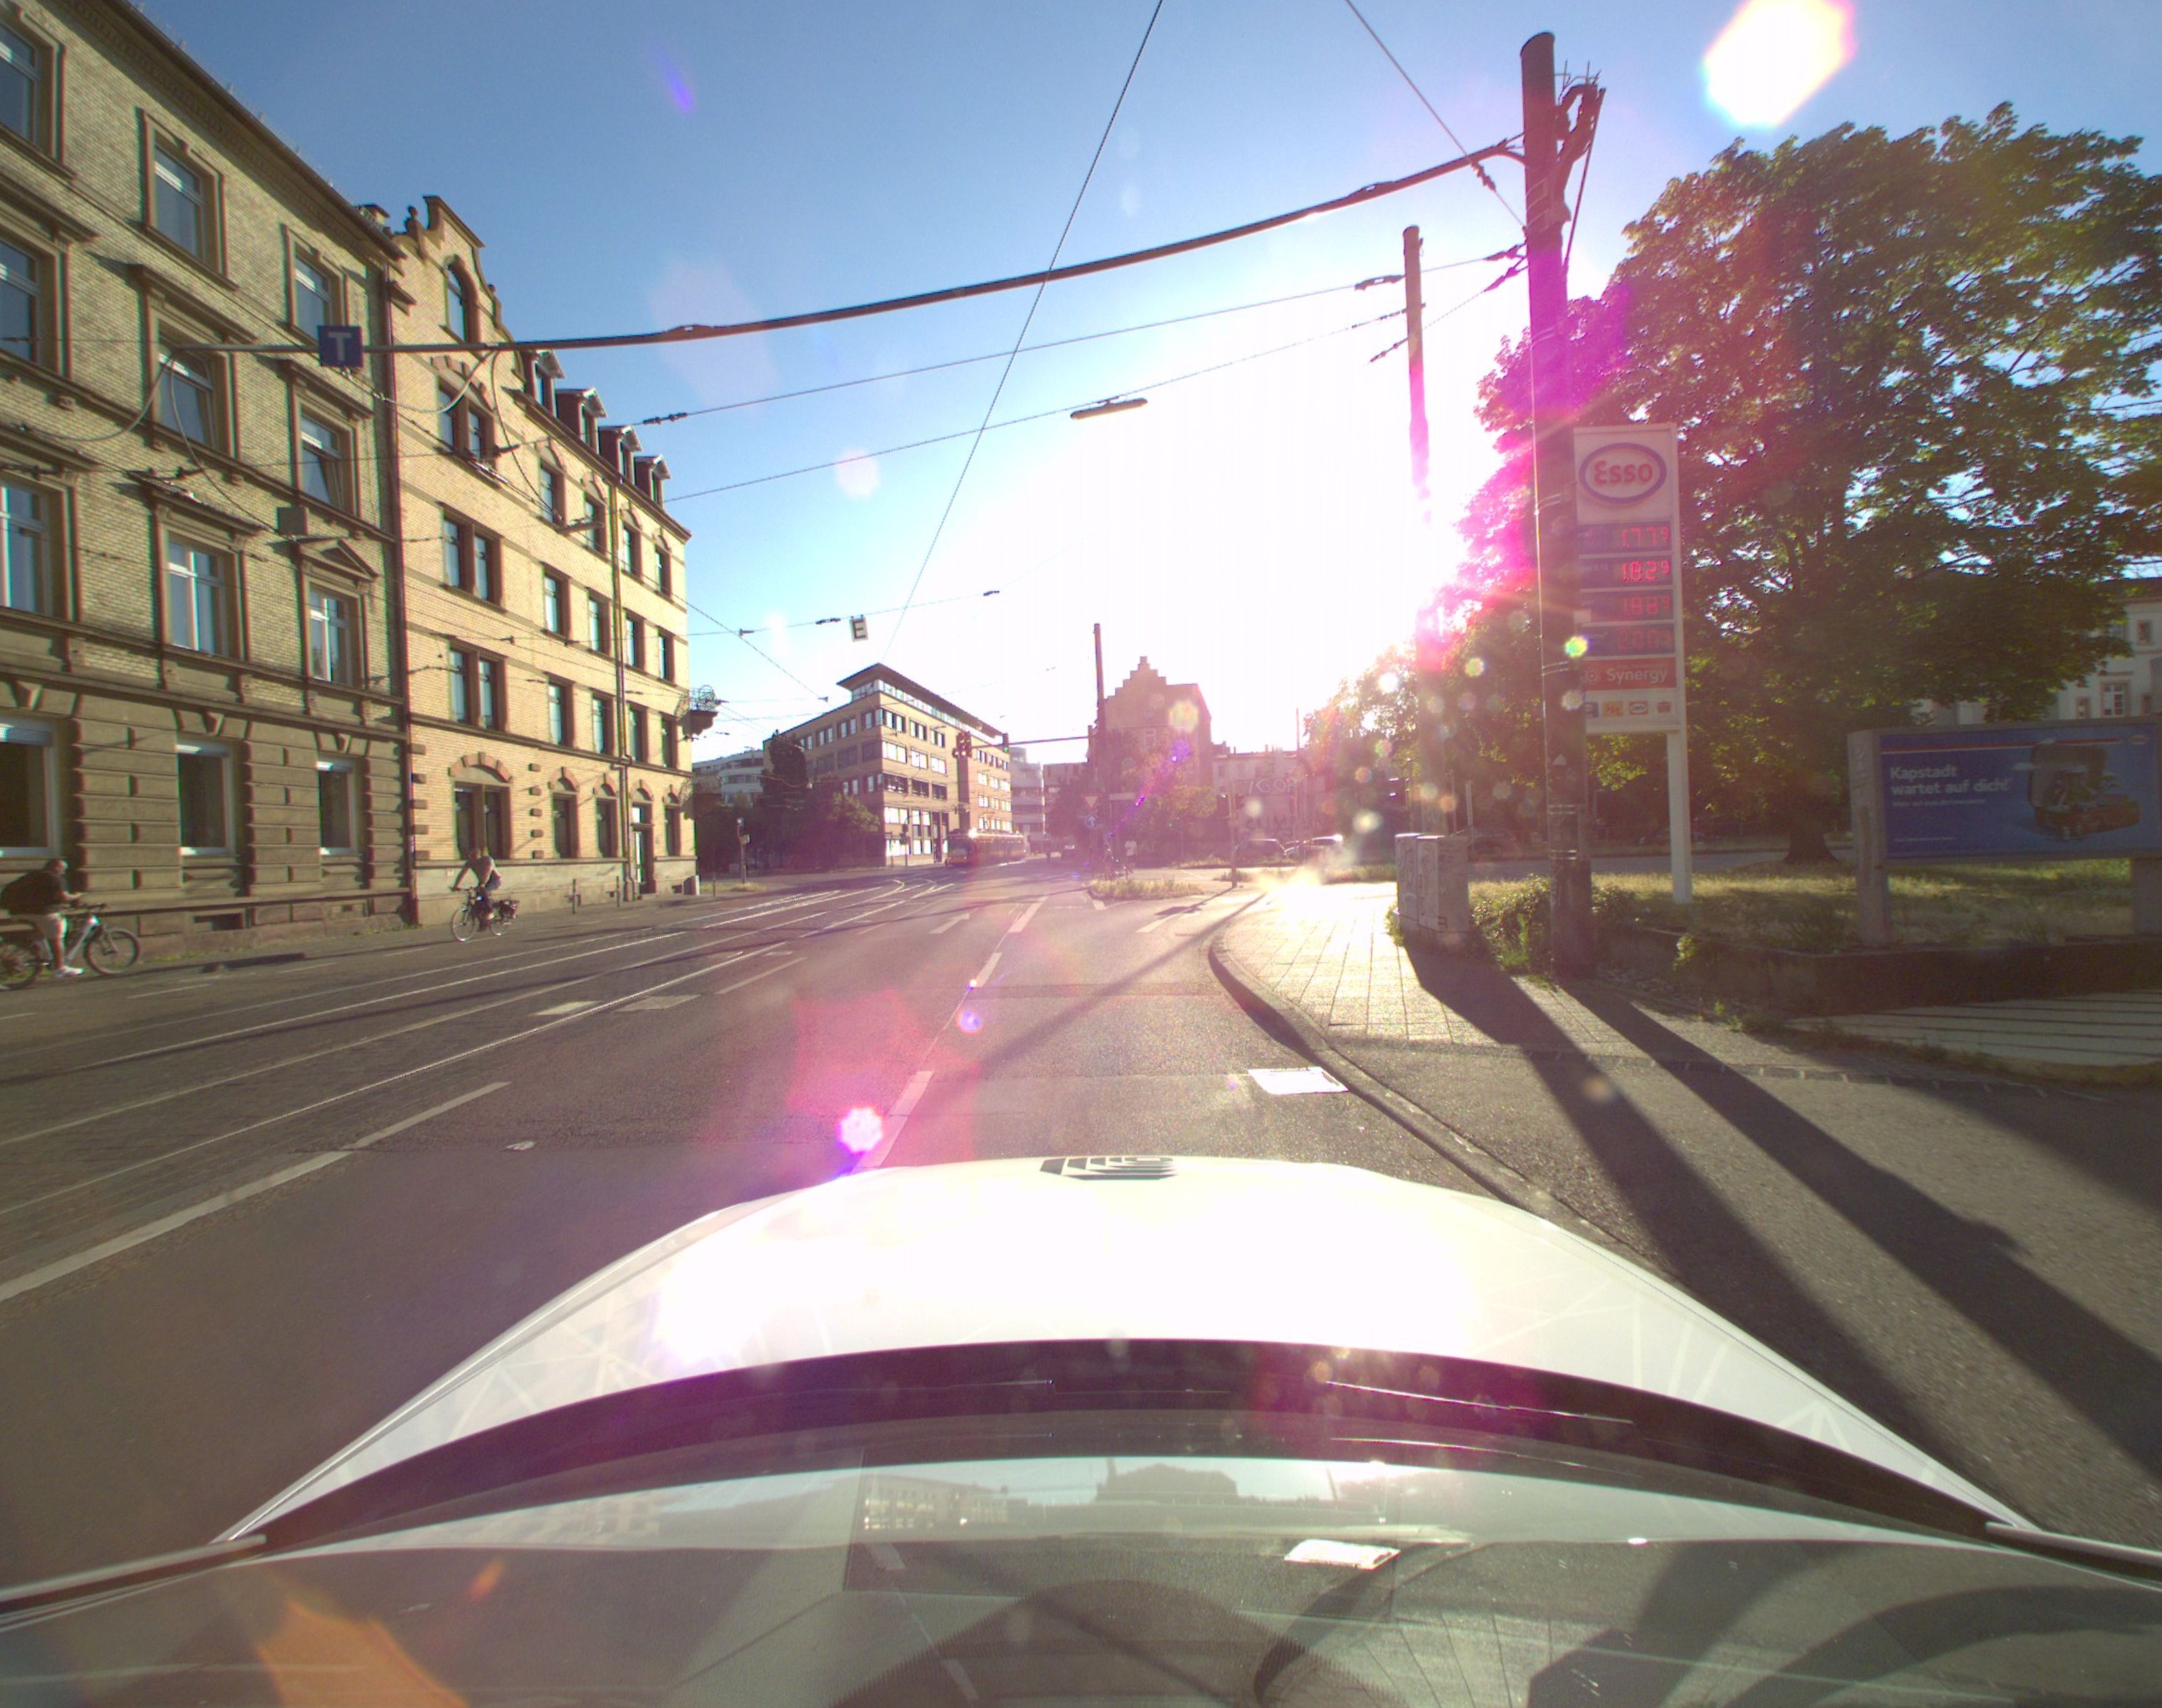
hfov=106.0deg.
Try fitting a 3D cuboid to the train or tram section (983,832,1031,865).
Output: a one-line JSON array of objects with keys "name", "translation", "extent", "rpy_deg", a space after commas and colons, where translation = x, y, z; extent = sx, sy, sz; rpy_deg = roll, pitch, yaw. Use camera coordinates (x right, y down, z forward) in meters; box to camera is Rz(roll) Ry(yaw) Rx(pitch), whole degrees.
[{"name": "train or tram section", "translation": [-8.485, -0.647, 94.908], "extent": [2.844, 3.507, 11.325], "rpy_deg": [-2, 0, 8]}]

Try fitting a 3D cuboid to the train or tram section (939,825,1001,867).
[{"name": "train or tram section", "translation": [-10.325, -0.775, 77.411], "extent": [2.847, 3.507, 13.033], "rpy_deg": [-2, 1, 5]}]

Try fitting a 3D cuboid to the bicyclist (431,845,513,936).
[{"name": "bicyclist", "translation": [-12.911, 0.745, 17.306], "extent": [0.725, 1.840, 1.212], "rpy_deg": [-3, 1, 0]}]

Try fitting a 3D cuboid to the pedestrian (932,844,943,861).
[{"name": "pedestrian", "translation": [-17.535, -0.156, 99.489], "extent": [1.002, 2.013, 0.874], "rpy_deg": [-2, 0, 9]}]

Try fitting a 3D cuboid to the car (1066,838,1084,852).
[{"name": "car", "translation": [-0.840, -1.205, 112.633], "extent": [1.983, 1.816, 4.007], "rpy_deg": [0, -1, 7]}]

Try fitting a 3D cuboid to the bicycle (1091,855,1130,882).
[{"name": "bicycle", "translation": [1.176, 0.585, 32.482], "extent": [1.650, 1.029, 0.402], "rpy_deg": [-2, 0, 42]}]

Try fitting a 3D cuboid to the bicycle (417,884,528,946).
[{"name": "bicycle", "translation": [-12.882, 1.262, 17.342], "extent": [0.724, 1.083, 2.116], "rpy_deg": [-3, 1, 0]}]

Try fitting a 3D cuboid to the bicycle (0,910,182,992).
[{"name": "bicycle", "translation": [-14.631, 1.375, 11.886], "extent": [0.644, 0.939, 2.088], "rpy_deg": [-2, 0, 0]}]

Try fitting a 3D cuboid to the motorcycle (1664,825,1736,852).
[{"name": "motorcycle", "translation": [28.365, -0.702, 37.365], "extent": [2.440, 1.107, 0.866], "rpy_deg": [-2, 0, 23]}]

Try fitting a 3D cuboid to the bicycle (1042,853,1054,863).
[{"name": "bicycle", "translation": [-3.181, 0.419, 79.422], "extent": [0.690, 0.877, 2.033], "rpy_deg": [-2, 1, 11]}]

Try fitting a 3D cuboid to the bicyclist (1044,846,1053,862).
[{"name": "bicyclist", "translation": [-3.204, -0.015, 79.428], "extent": [0.669, 1.522, 0.816], "rpy_deg": [-2, 0, 10]}]

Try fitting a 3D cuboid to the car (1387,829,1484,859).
[{"name": "car", "translation": [17.582, -0.504, 40.523], "extent": [4.324, 1.296, 1.734], "rpy_deg": [-2, 0, 23]}]

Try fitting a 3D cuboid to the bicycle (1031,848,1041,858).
[{"name": "bicycle", "translation": [-7.621, -0.111, 137.860], "extent": [1.023, 1.651, 2.568], "rpy_deg": [-2, 0, 11]}]

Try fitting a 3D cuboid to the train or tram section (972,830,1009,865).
[{"name": "train or tram section", "translation": [-9.560, -0.707, 86.550], "extent": [2.847, 3.507, 5.311], "rpy_deg": [-2, 0, 5]}]

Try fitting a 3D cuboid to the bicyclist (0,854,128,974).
[{"name": "bicyclist", "translation": [-14.658, 0.823, 11.705], "extent": [0.632, 1.613, 1.036], "rpy_deg": [-2, 0, 0]}]

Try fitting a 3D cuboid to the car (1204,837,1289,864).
[{"name": "car", "translation": [8.996, -0.181, 44.270], "extent": [4.196, 1.296, 1.734], "rpy_deg": [-2, 0, 24]}]

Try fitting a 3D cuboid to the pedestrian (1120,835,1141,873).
[{"name": "pedestrian", "translation": [2.462, -0.001, 40.375], "extent": [0.903, 1.789, 0.829], "rpy_deg": [-2, 0, 7]}]

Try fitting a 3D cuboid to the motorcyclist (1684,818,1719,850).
[{"name": "motorcyclist", "translation": [28.425, -0.927, 37.334], "extent": [1.048, 1.398, 0.859], "rpy_deg": [-2, 0, 23]}]

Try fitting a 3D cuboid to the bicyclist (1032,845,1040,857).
[{"name": "bicyclist", "translation": [-7.626, -0.473, 137.876], "extent": [1.023, 2.014, 1.250], "rpy_deg": [-1, -1, 11]}]

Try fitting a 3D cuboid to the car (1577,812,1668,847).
[{"name": "car", "translation": [29.528, -1.318, 44.556], "extent": [3.950, 1.794, 1.760], "rpy_deg": [-1, -1, 26]}]

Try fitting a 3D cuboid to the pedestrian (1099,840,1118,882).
[{"name": "pedestrian", "translation": [1.088, 0.272, 32.405], "extent": [0.519, 1.631, 0.492], "rpy_deg": [-2, 0, 42]}]

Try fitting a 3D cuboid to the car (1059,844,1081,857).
[{"name": "car", "translation": [-1.251, -0.443, 96.387], "extent": [1.773, 1.388, 4.013], "rpy_deg": [-2, 1, 11]}]

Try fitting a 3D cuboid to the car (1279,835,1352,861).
[{"name": "car", "translation": [13.394, -0.341, 46.480], "extent": [3.848, 1.319, 1.733], "rpy_deg": [-2, 0, 21]}]
